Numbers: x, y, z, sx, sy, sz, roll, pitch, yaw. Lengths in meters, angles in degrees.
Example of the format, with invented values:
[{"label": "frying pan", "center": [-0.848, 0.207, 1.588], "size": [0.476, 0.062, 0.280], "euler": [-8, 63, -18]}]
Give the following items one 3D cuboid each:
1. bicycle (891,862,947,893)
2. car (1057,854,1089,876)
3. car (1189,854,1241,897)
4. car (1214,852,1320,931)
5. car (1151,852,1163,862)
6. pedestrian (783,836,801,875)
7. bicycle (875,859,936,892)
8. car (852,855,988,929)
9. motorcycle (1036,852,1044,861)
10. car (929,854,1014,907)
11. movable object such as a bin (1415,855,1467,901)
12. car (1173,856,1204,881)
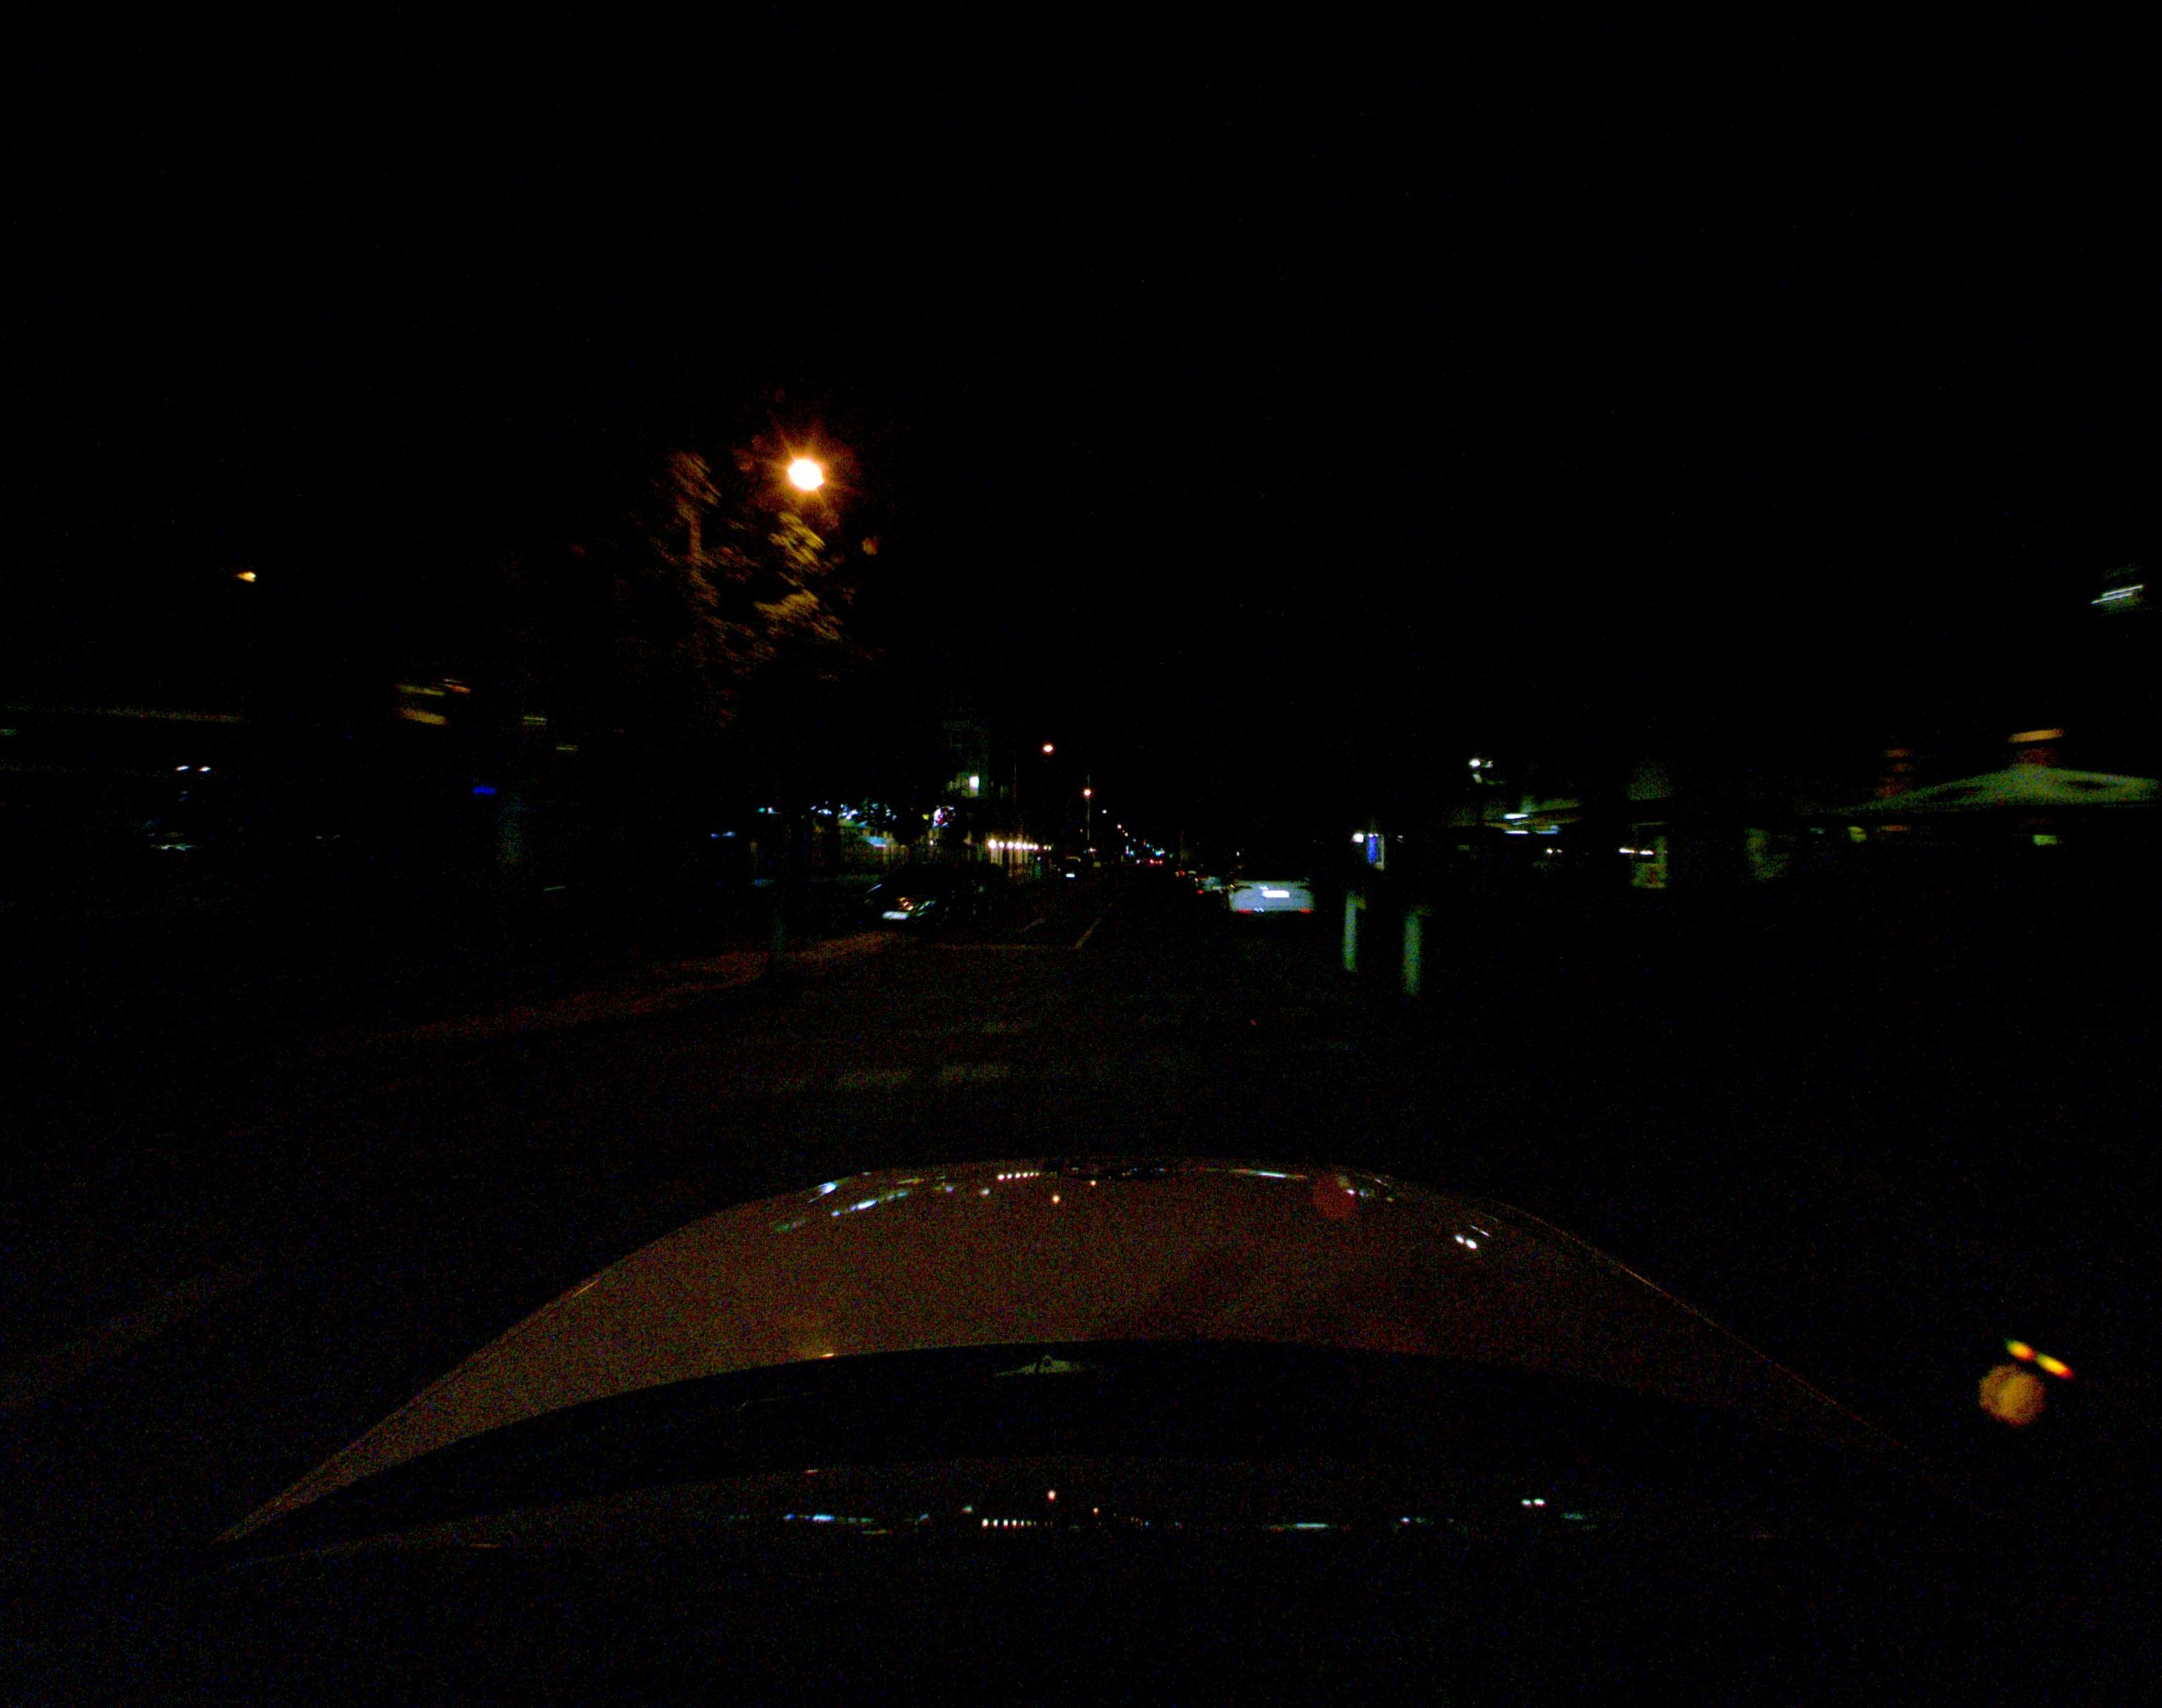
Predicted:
[{"label": "bicycle", "center": [-5.799, 0.831, 29.205], "size": [1.842, 1.035, 0.533], "euler": [2, 0, 4]}, {"label": "car", "center": [-0.510, 0.769, 57.293], "size": [1.733, 1.413, 4.502], "euler": [1, 0, 5]}, {"label": "car", "center": [5.195, 0.790, 31.998], "size": [1.681, 1.537, 4.021], "euler": [-1, 0, 5]}, {"label": "car", "center": [4.071, 0.744, 18.436], "size": [1.761, 1.537, 4.222], "euler": [-1, 0, 5]}, {"label": "car", "center": [13.238, 0.536, 142.300], "size": [1.984, 1.643, 4.005], "euler": [0, 0, 4]}, {"label": "pedestrian", "center": [-12.391, 0.063, 34.947], "size": [0.476, 1.636, 0.633], "euler": [0, 0, 5]}, {"label": "bicycle", "center": [-5.842, 0.712, 27.147], "size": [1.842, 1.000, 0.533], "euler": [2, 0, 4]}, {"label": "car", "center": [-3.623, 0.798, 19.333], "size": [1.798, 1.425, 4.928], "euler": [2, 0, 5]}, {"label": "motorcycle", "center": [-4.760, 0.312, 94.211], "size": [0.474, 1.020, 1.682], "euler": [1, 0, 15]}, {"label": "car", "center": [-3.300, 0.767, 25.276], "size": [1.714, 1.428, 3.982], "euler": [2, 0, 5]}, {"label": "movable object such as a bin", "center": [11.074, 0.715, 25.083], "size": [1.155, 1.371, 0.994], "euler": [1, 0, 3]}, {"label": "car", "center": [6.650, 0.857, 50.706], "size": [1.755, 1.414, 4.815], "euler": [0, 0, 5]}]
